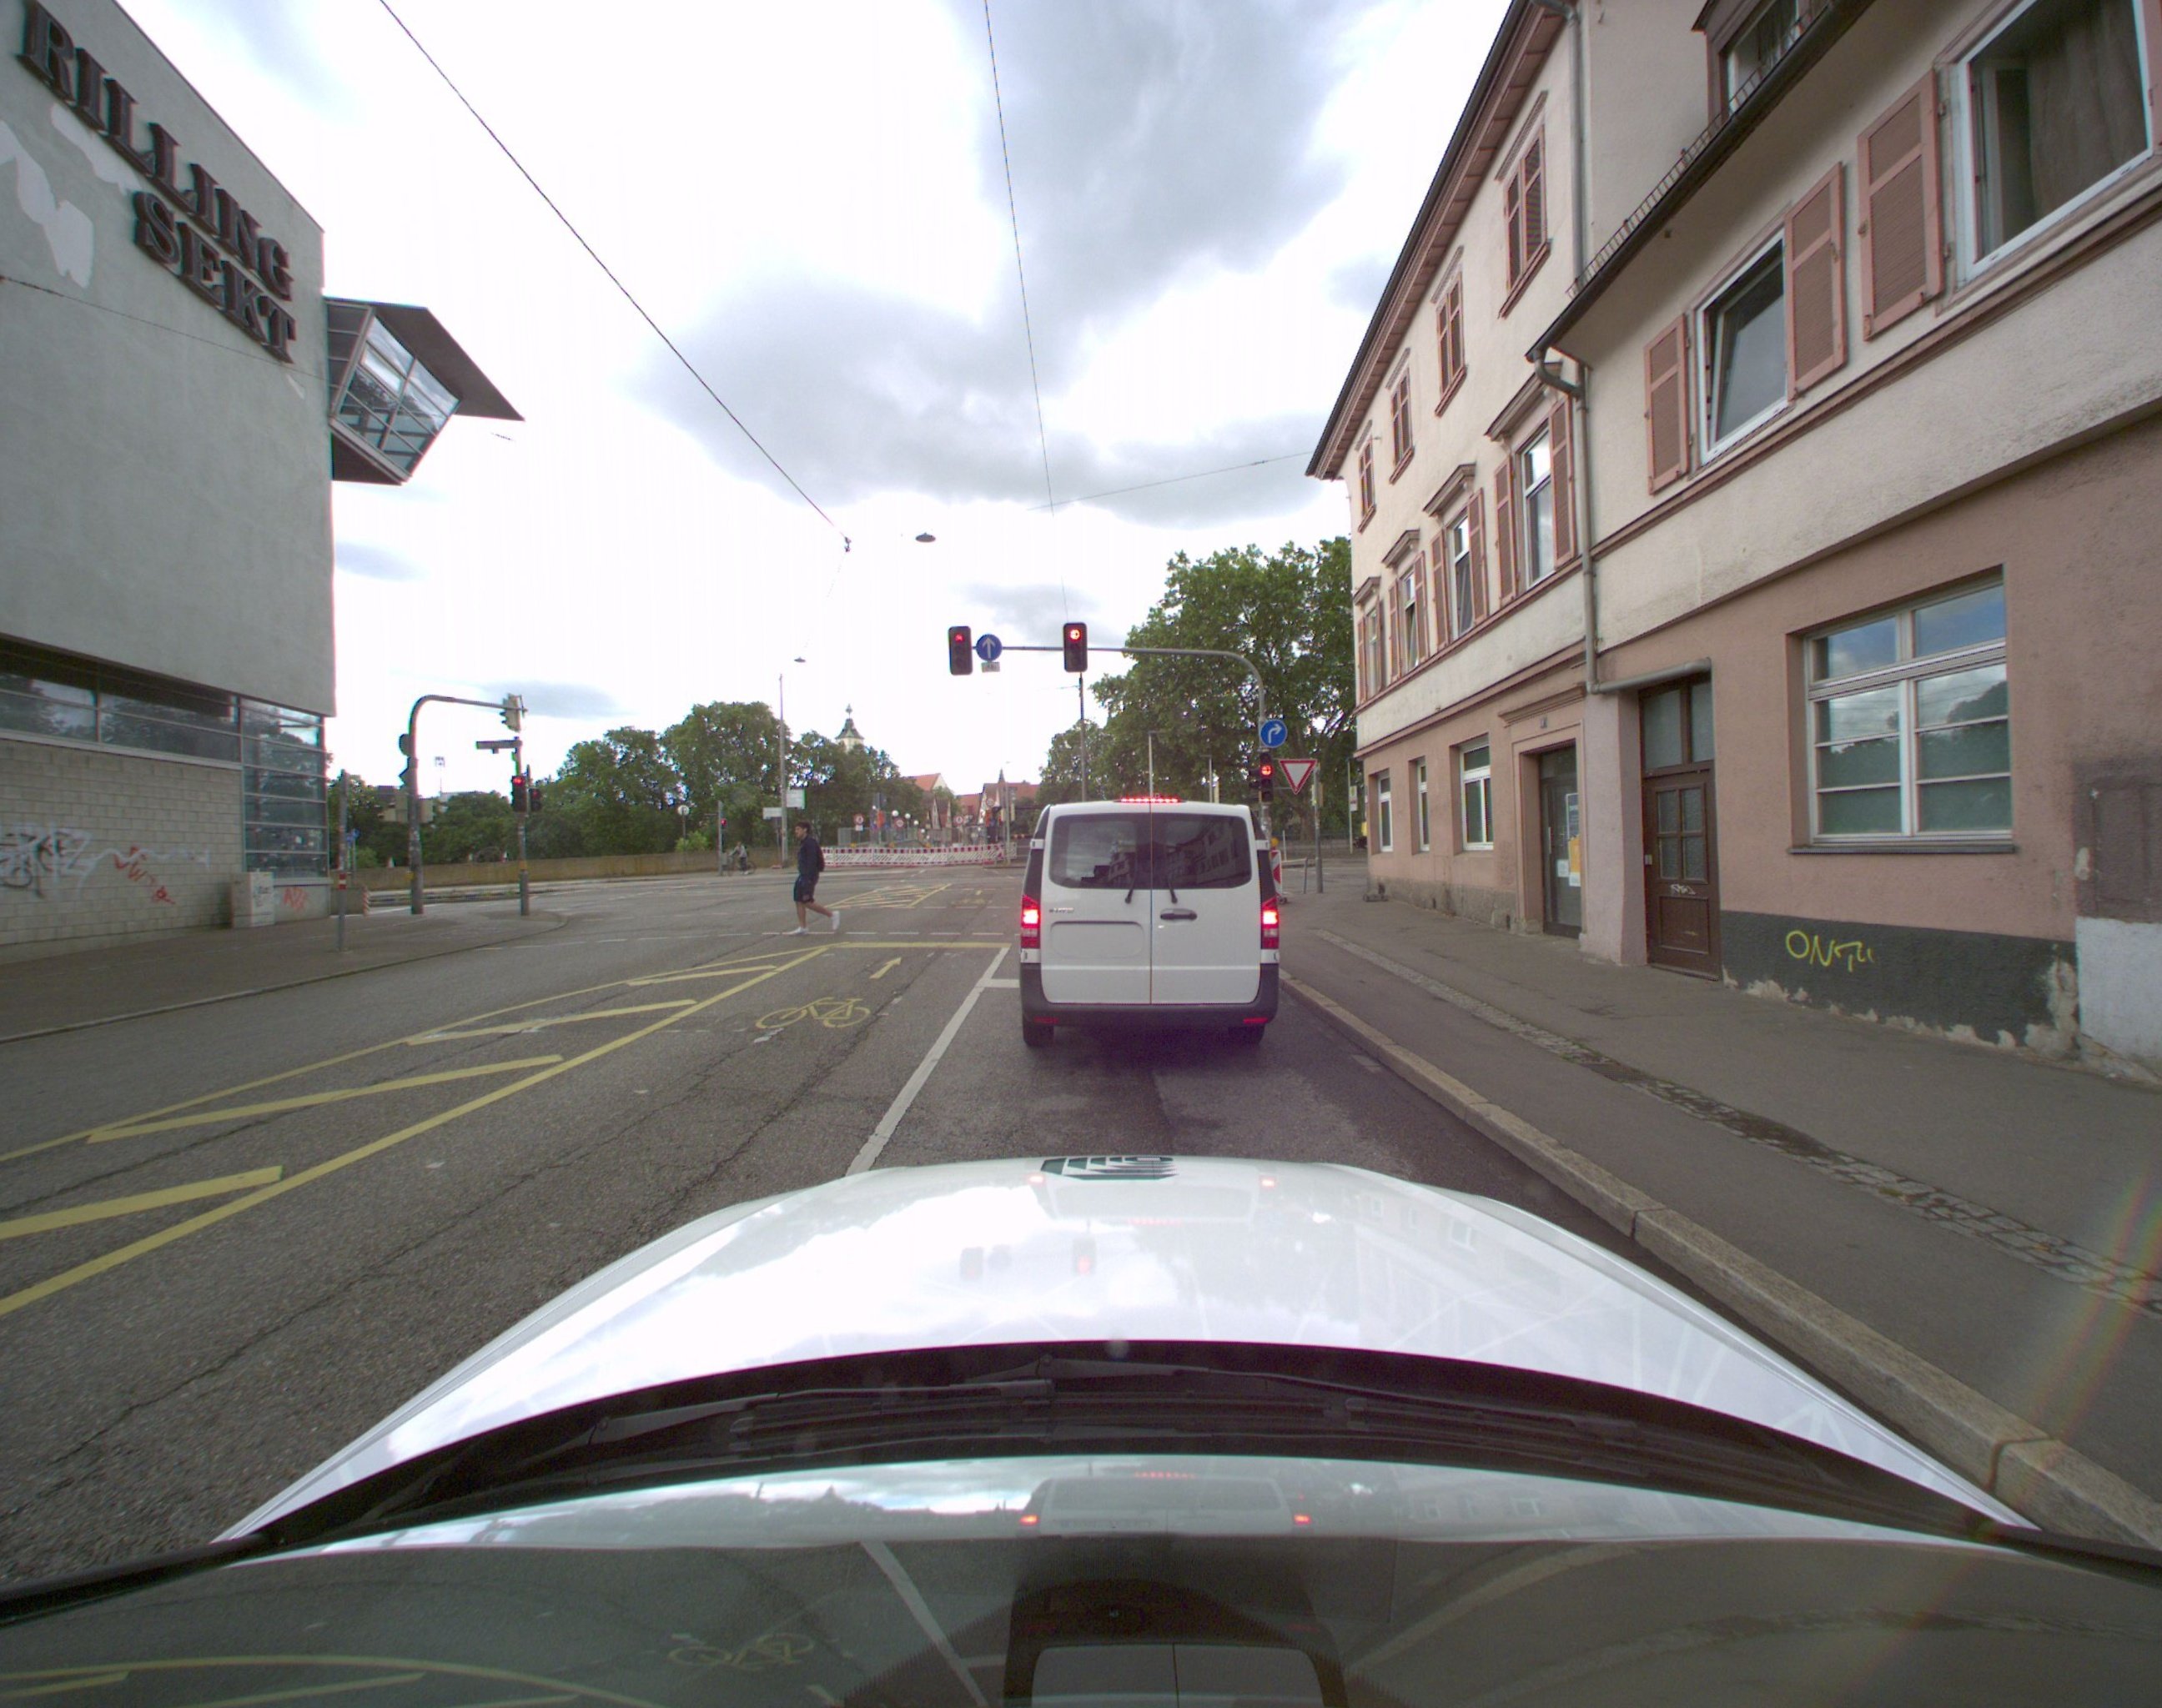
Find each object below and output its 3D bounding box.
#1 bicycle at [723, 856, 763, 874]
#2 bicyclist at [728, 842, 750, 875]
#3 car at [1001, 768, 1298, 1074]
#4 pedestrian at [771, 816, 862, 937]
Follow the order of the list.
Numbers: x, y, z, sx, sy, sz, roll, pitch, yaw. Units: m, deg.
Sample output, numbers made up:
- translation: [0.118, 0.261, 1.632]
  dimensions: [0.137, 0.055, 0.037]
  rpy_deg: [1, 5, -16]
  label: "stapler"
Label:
- translation: [-18.052, 0.607, 43.520]
  dimensions: [0.536, 0.892, 1.892]
  rpy_deg: [-2, 0, 40]
  label: "bicycle"
- translation: [-18.202, 0.232, 43.345]
  dimensions: [0.716, 1.701, 0.816]
  rpy_deg: [-2, 0, 40]
  label: "bicyclist"
- translation: [0.530, 0.394, 7.731]
  dimensions: [1.943, 2.013, 4.700]
  rpy_deg: [0, 1, 2]
  label: "car"
- translation: [-4.284, 0.341, 13.293]
  dimensions: [1.084, 1.886, 1.058]
  rpy_deg: [0, 1, 1]
  label: "pedestrian"
